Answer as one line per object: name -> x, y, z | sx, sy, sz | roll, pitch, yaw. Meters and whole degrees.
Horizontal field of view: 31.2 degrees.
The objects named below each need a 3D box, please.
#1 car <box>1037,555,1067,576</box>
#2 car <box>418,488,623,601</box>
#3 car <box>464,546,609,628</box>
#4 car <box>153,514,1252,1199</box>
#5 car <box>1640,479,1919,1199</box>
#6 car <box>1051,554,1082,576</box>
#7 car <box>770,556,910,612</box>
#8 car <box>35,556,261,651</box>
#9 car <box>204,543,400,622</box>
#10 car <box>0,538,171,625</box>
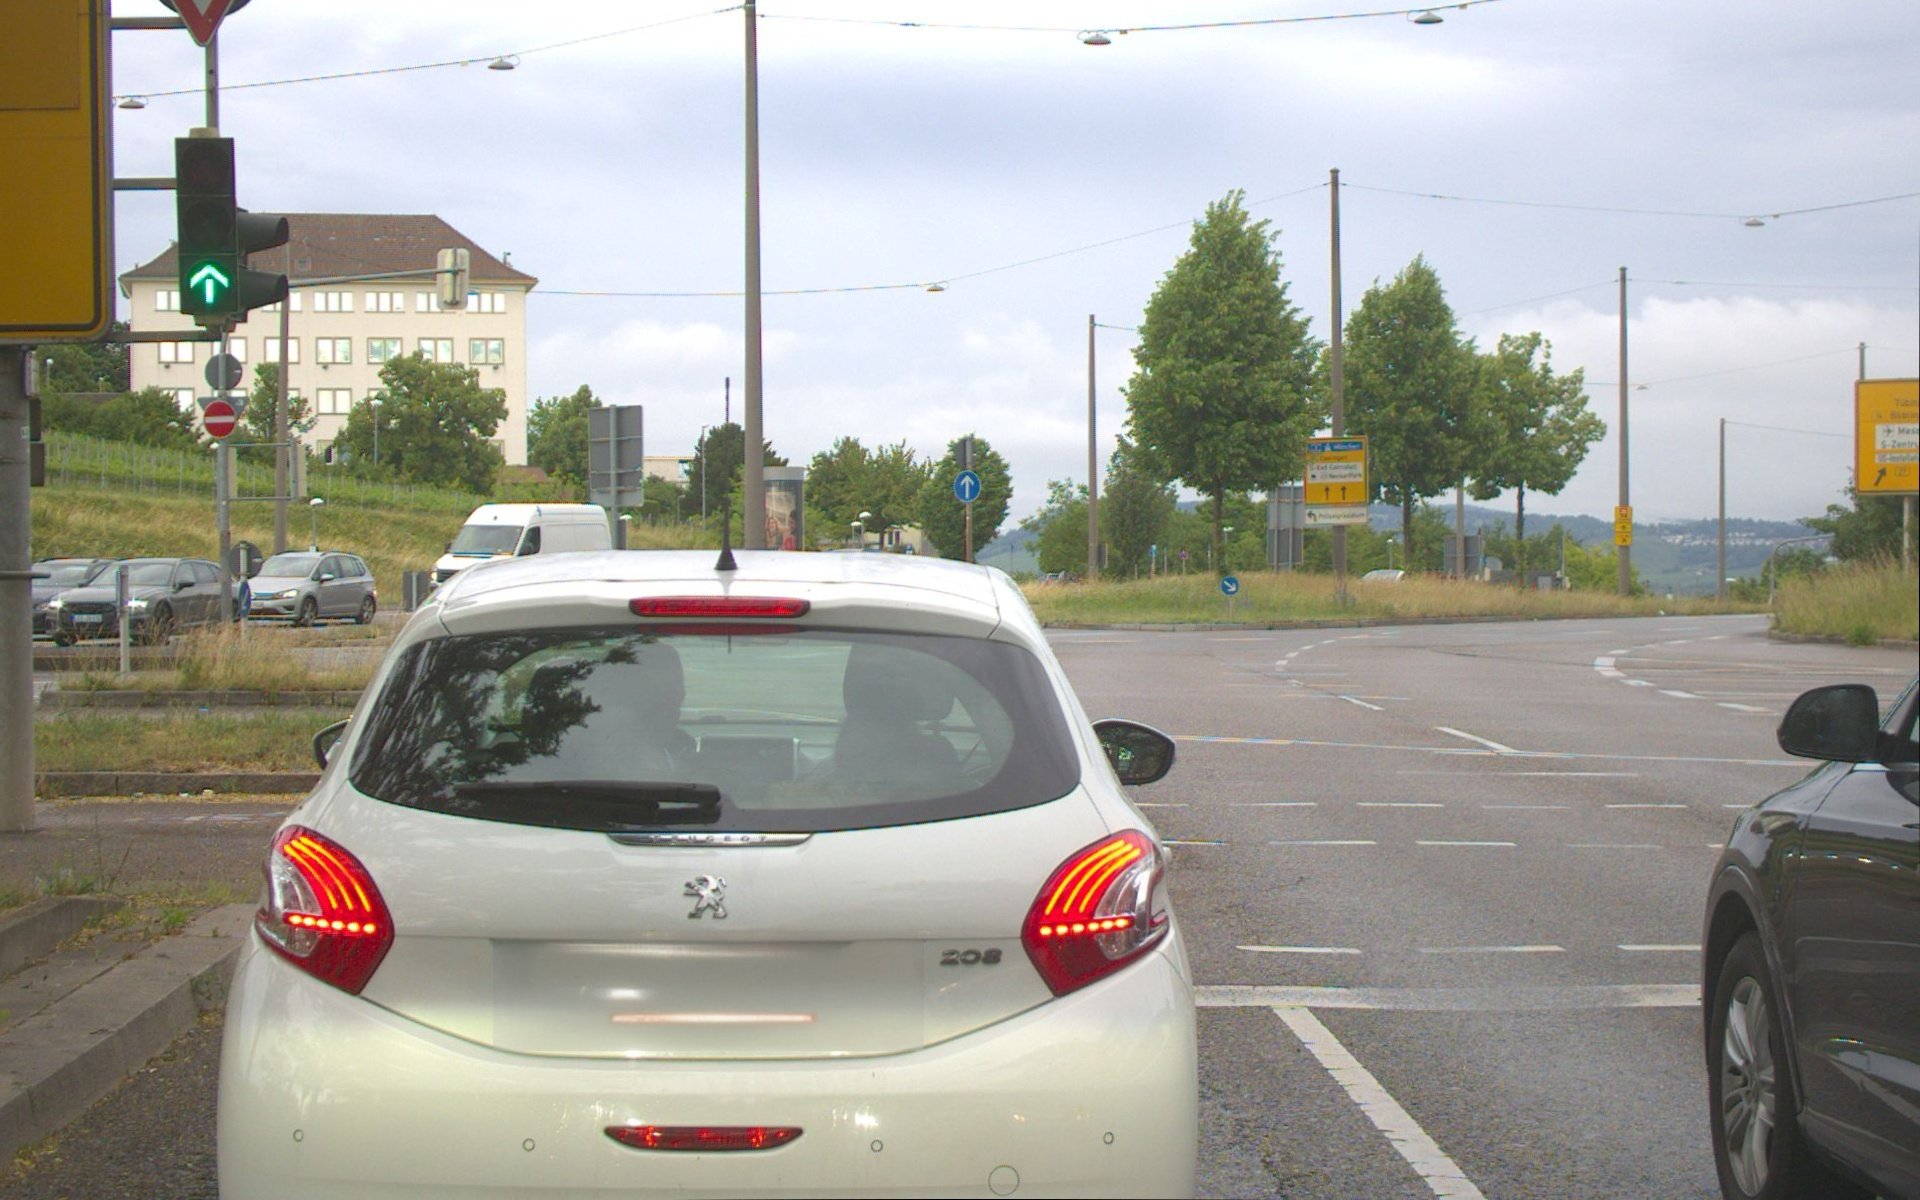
car -> 6.562, -2.483, 245.277 | 1.841, 1.481, 4.001 | 0, 1, -3
car -> -10.444, -1.283, 82.249 | 1.996, 2.550, 6.162 | 2, 0, 23
car -> -7.611, -0.233, 62.179 | 1.776, 1.420, 4.373 | 0, 0, 4
car -> -0.459, 0.597, 7.416 | 1.717, 1.484, 4.000 | 1, 1, -2
car -> 2.577, 0.614, 5.878 | 1.884, 1.590, 4.114 | 2, 0, -1
car -> 7.319, -2.394, 236.899 | 1.841, 1.481, 4.001 | 0, 1, -3
car -> -3.364, -0.441, 97.297 | 1.997, 1.507, 4.225 | 2, 0, 30
car -> -13.644, 0.047, 58.074 | 1.902, 1.484, 4.890 | 1, 0, 10
car -> -13.726, -0.355, 71.990 | 1.996, 1.570, 4.190 | 2, 0, 23
car -> -16.152, -0.359, 62.110 | 1.825, 1.467, 4.666 | 0, 2, 13
